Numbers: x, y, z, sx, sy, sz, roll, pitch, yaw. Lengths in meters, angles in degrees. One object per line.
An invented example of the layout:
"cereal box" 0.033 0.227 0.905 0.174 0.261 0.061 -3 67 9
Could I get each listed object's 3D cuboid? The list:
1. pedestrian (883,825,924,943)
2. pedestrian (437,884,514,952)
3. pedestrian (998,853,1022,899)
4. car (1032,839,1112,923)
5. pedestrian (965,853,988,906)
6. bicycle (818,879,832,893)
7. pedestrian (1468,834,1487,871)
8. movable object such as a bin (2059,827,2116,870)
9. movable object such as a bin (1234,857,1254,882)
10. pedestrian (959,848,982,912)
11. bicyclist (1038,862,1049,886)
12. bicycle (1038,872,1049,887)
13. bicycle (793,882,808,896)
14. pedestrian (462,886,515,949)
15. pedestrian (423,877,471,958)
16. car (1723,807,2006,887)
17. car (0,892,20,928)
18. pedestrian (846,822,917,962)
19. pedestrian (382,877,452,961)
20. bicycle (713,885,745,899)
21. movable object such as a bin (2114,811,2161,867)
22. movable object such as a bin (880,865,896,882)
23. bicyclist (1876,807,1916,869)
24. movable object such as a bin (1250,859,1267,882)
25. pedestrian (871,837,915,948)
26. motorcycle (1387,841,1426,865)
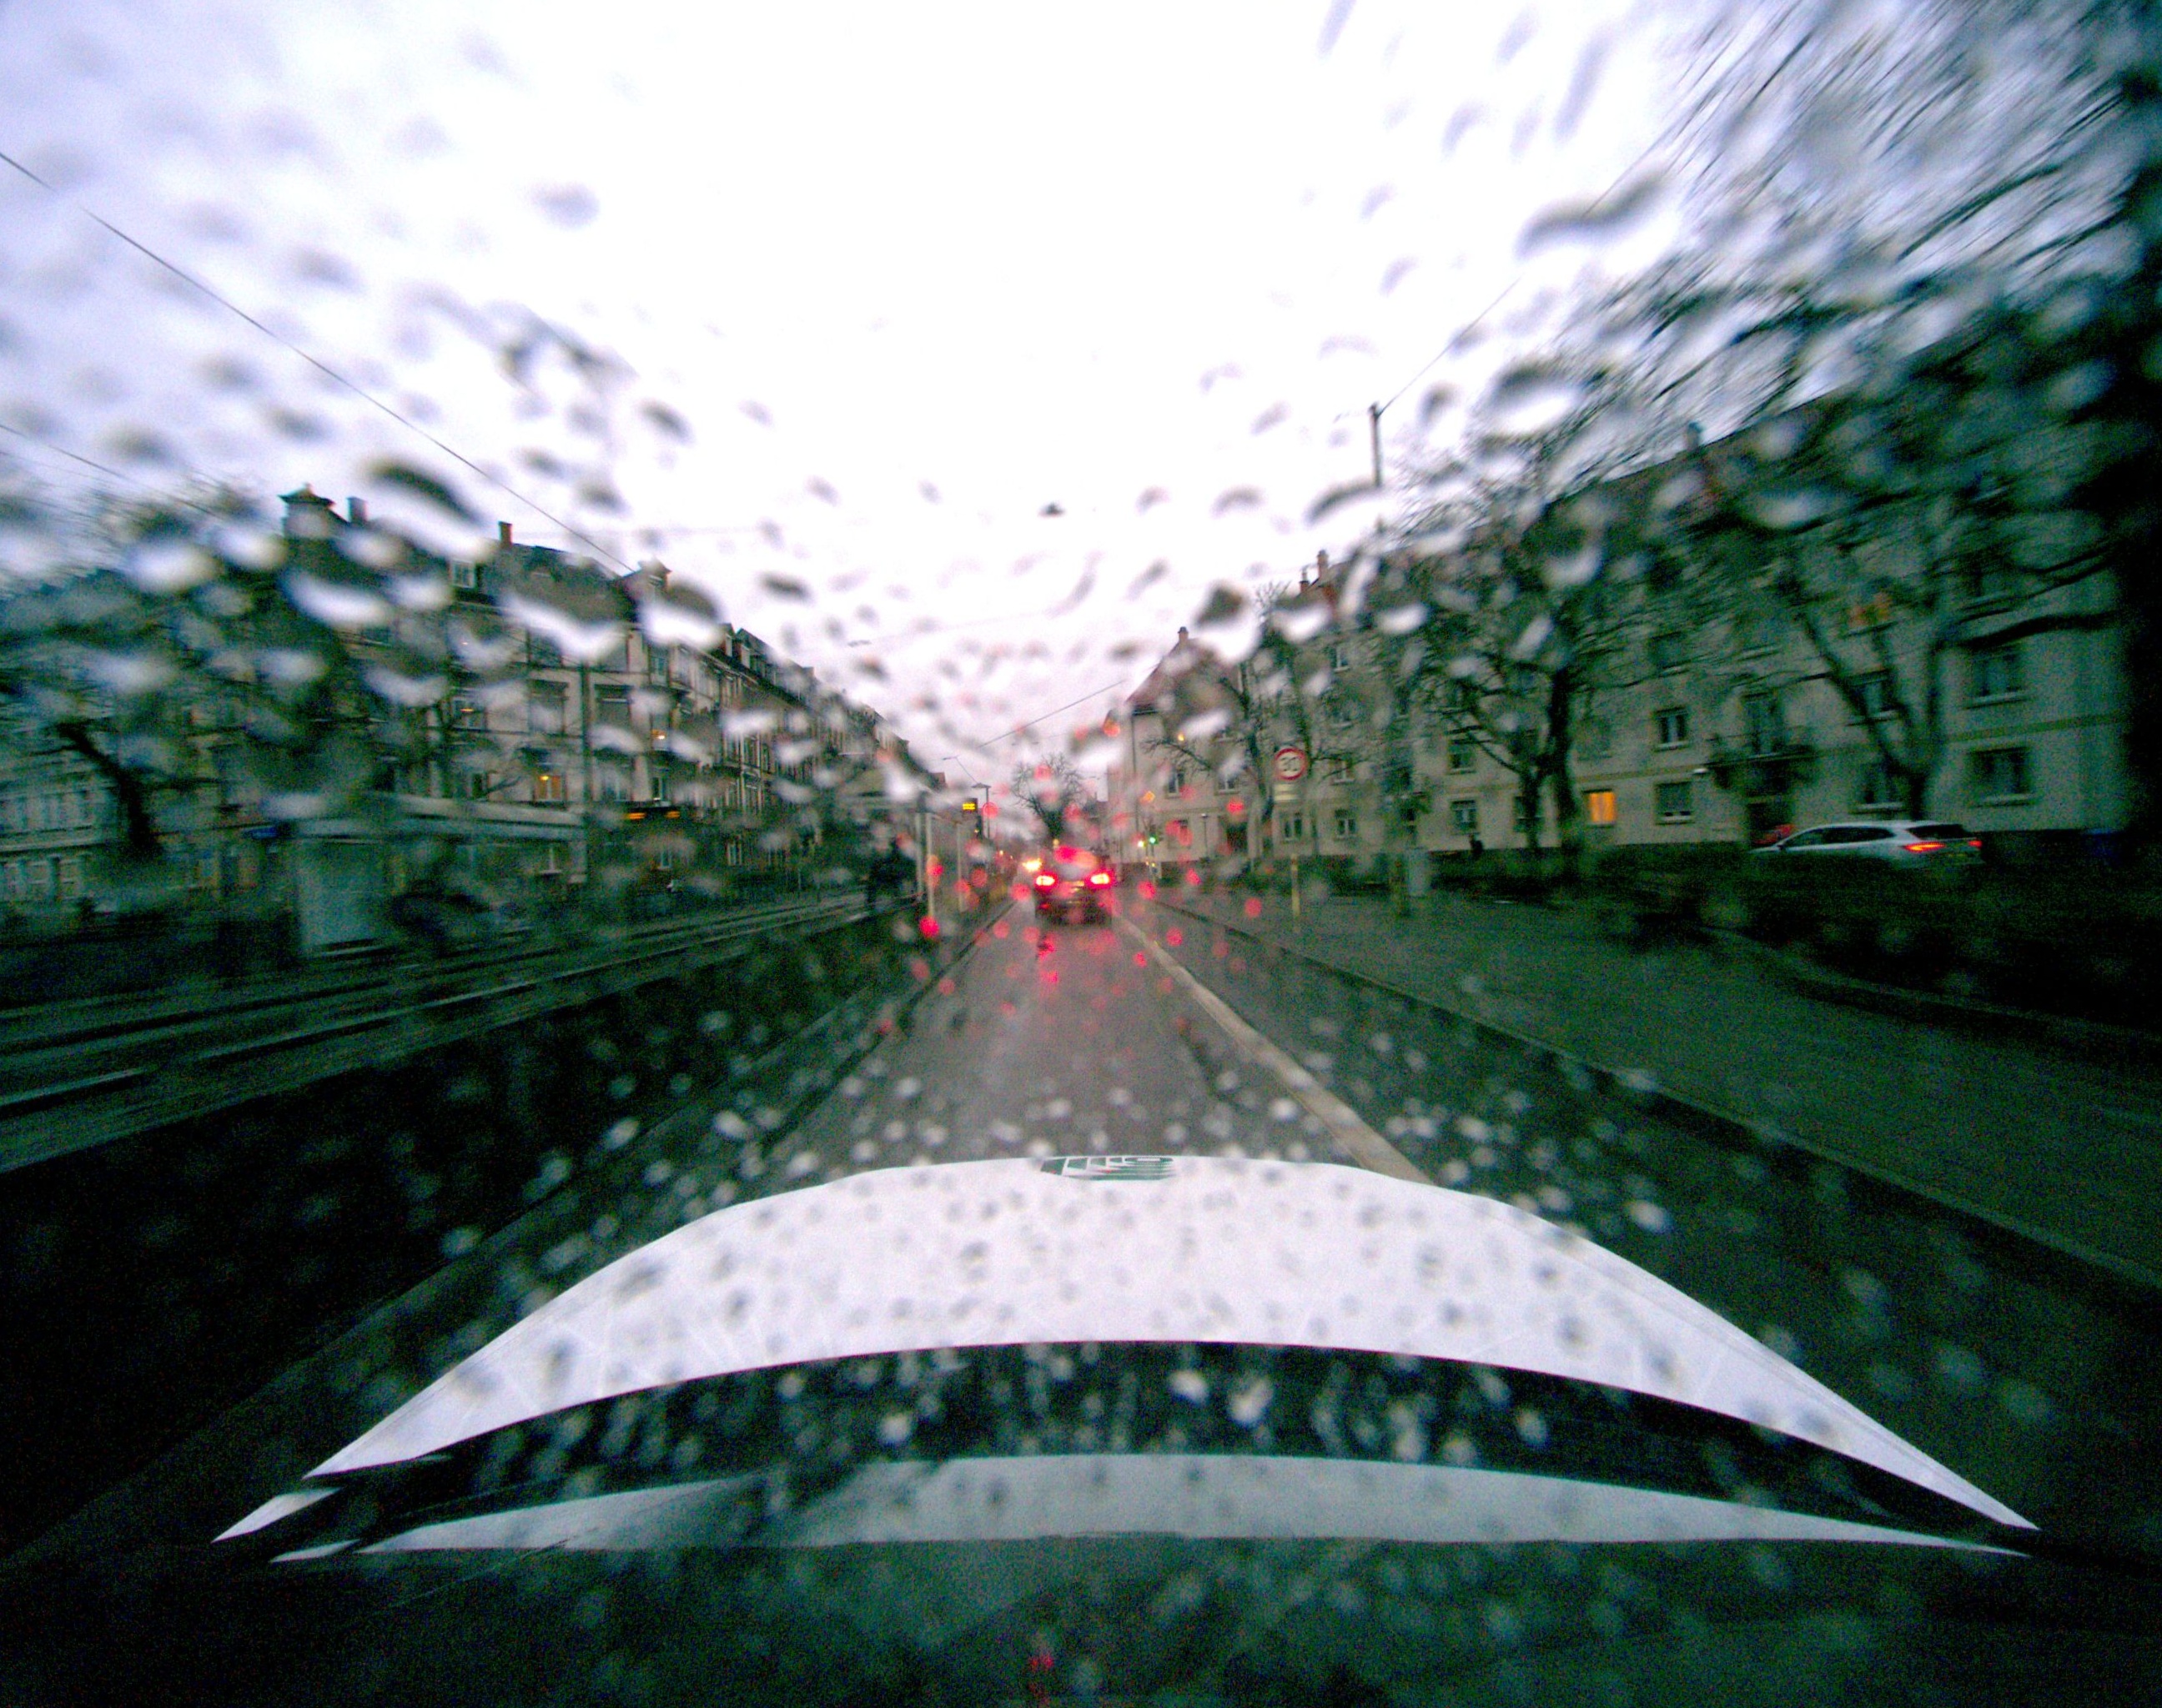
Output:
"pedestrian" -3.063 0.511 14.063 0.555 1.987 0.570 1 -1 -1
"pedestrian" -11.590 1.222 15.614 1.053 1.254 0.506 1 -1 -3
"pedestrian" -2.987 0.906 34.132 0.721 1.917 0.680 2 -1 -41
"car" -0.217 0.642 20.560 1.796 1.871 4.017 1 -1 0
"pedestrian" -3.400 0.839 26.580 0.655 1.708 0.570 1 -1 -1
"bicycle" -18.877 2.340 59.994 0.415 1.007 1.848 -3 -1 -1
"pedestrian" 18.028 -0.069 37.032 0.706 1.660 0.692 -3 -1 24
"movable object such as a bin" 23.561 -0.129 19.064 0.527 0.980 0.648 -2 -1 -14
"movable object such as a bin" 8.468 0.793 42.329 0.843 1.252 0.525 0 -1 40
"pedestrian" -3.181 0.753 23.525 0.555 1.808 0.570 1 -1 -1
"bicyclist" -2.686 1.426 58.523 0.728 1.737 0.765 -2 -1 -1
"bicycle" -2.681 1.853 58.586 0.729 1.007 1.763 -2 -1 -1
"bicycle" -18.989 2.367 55.157 0.398 0.862 1.848 -3 -1 -1
"pedestrian" -11.736 1.249 16.144 0.651 1.218 0.516 1 -1 -2
"pedestrian" -11.343 1.124 14.583 0.471 1.403 0.453 1 -1 -2
"car" 18.396 -0.126 19.535 1.891 1.510 4.744 -6 0 -5
"car" -53.170 2.766 38.730 3.955 1.706 2.009 -3 -1 17
"pedestrian" -2.848 0.534 11.671 0.851 1.956 0.570 1 -1 -2
"pedestrian" -11.440 1.114 14.047 0.682 1.403 0.578 1 -1 -2
"bicycle" -21.174 2.268 49.075 0.395 0.759 1.823 -3 -1 34
"movable object such as a bin" 23.887 -0.336 18.285 0.527 1.228 0.648 -2 -1 -14
"movable object such as a bin" -19.104 1.917 80.552 1.239 1.586 1.308 -1 -1 3
"bicyclist" 25.316 -0.483 25.309 0.465 1.886 0.679 -2 -1 -2
"movable object such as a bin" 9.103 0.845 41.807 0.692 1.120 0.542 0 -1 40
"pedestrian" -3.021 0.612 13.113 0.555 1.741 0.570 1 -1 -1
"motorcycle" 15.705 -0.046 39.314 0.572 1.105 1.585 -5 1 -38
